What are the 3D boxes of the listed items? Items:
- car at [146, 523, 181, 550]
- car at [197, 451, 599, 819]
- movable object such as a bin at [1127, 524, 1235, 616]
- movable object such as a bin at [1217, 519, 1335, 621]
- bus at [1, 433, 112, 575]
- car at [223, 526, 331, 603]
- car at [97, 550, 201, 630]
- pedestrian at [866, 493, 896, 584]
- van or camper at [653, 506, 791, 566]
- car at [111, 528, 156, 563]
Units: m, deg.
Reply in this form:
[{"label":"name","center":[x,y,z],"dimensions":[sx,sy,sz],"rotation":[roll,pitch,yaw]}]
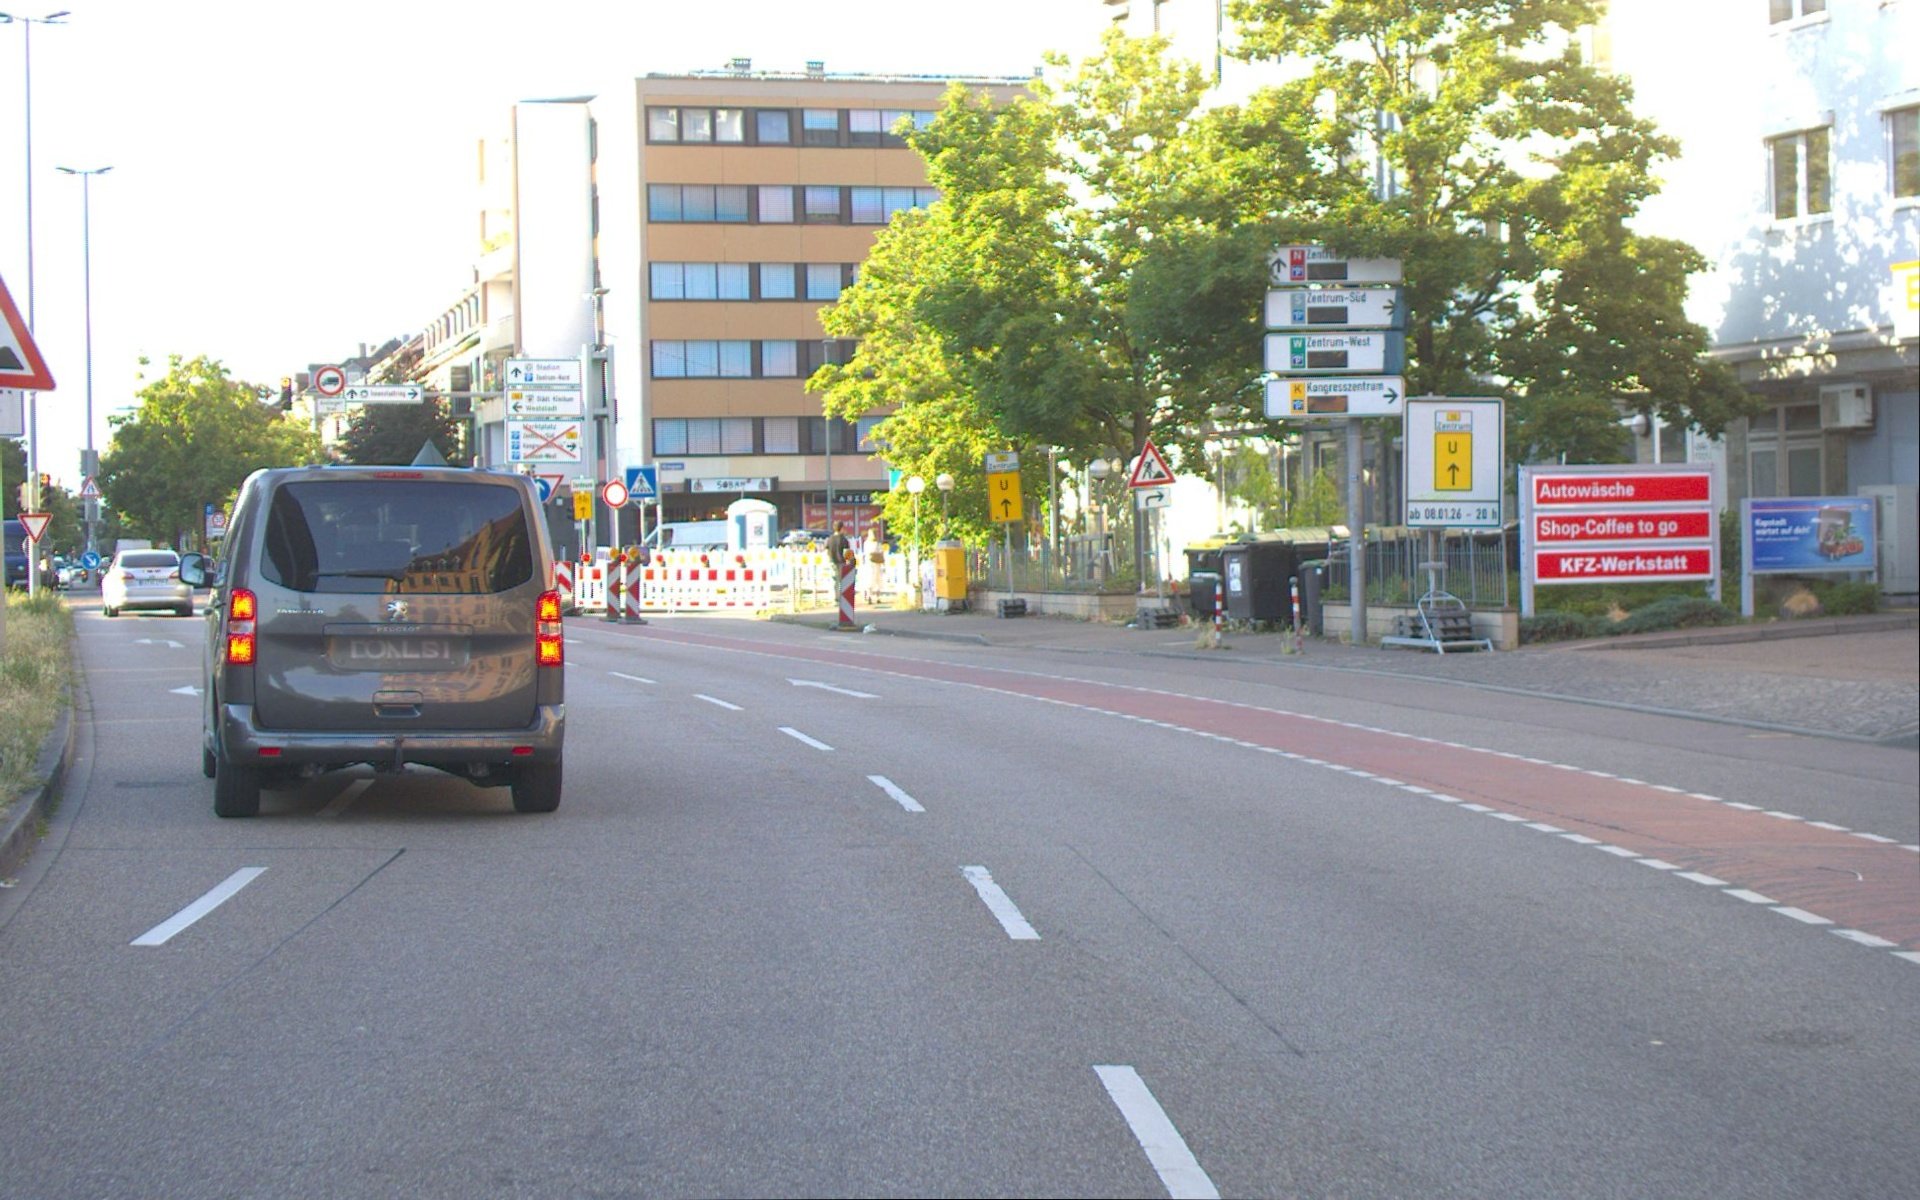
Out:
[{"label":"car","center":[-51.487,-4.077,222.084],"dimensions":[1.848,1.702,3.726],"rotation":[-2,1,-18]},{"label":"car","center":[-3.378,0.133,19.990],"dimensions":[1.993,1.894,4.300],"rotation":[1,1,-13]},{"label":"movable object such as a bin","center":[3.483,-0.484,54.295],"dimensions":[1.462,1.381,1.547],"rotation":[-1,1,-5]},{"label":"movable object such as a bin","center":[4.680,-0.460,51.023],"dimensions":[1.462,1.449,1.547],"rotation":[-1,1,-5]},{"label":"bus","center":[-30.770,-3.199,116.788],"dimensions":[3.289,4.601,10.003],"rotation":[0,1,-17]},{"label":"car","center":[-15.438,-0.823,77.545],"dimensions":[1.993,1.651,4.300],"rotation":[-2,1,-16]},{"label":"car","center":[-17.960,-0.244,76.047],"dimensions":[1.993,1.651,4.300],"rotation":[-2,1,-16]},{"label":"pedestrian","center":[-1.756,-1.361,76.552],"dimensions":[0.490,2.007,0.664],"rotation":[-1,1,-15]},{"label":"van or camper","center":[-8.399,-2.267,121.007],"dimensions":[4.563,2.007,2.001],"rotation":[-2,1,-12]},{"label":"car","center":[-41.606,-2.726,173.001],"dimensions":[1.848,1.702,3.726],"rotation":[-2,1,-18]}]
